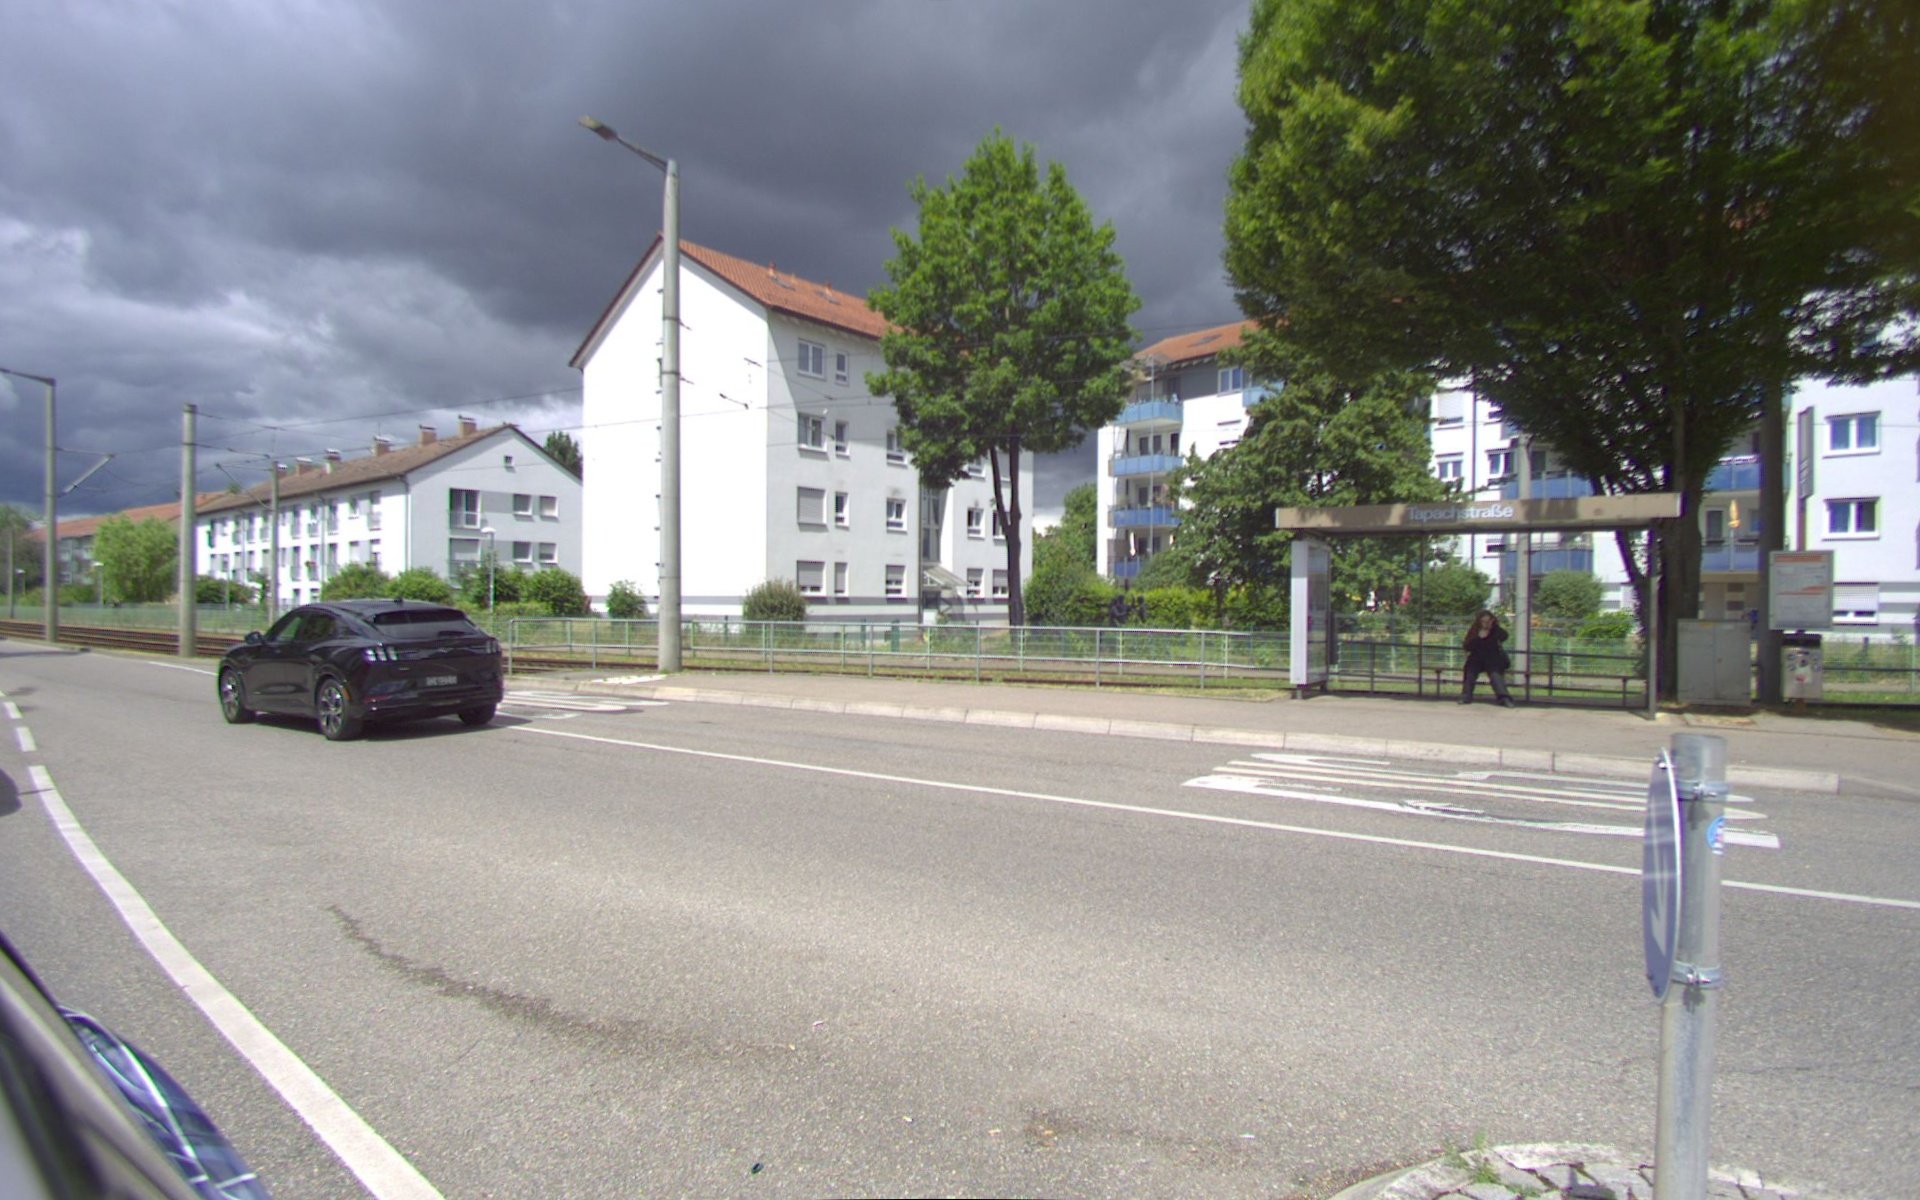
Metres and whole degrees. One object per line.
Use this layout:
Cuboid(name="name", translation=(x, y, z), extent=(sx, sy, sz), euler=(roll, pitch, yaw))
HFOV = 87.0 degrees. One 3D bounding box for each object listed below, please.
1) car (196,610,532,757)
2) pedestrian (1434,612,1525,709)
Cuboid(name="car", translation=(-7.713, 0.918, 12.972), extent=(4.512, 1.537, 1.977), euler=(0, 0, 34))
Cuboid(name="pedestrian", translation=(6.513, 0.729, 12.689), extent=(0.909, 1.144, 0.791), euler=(0, 0, 36))
